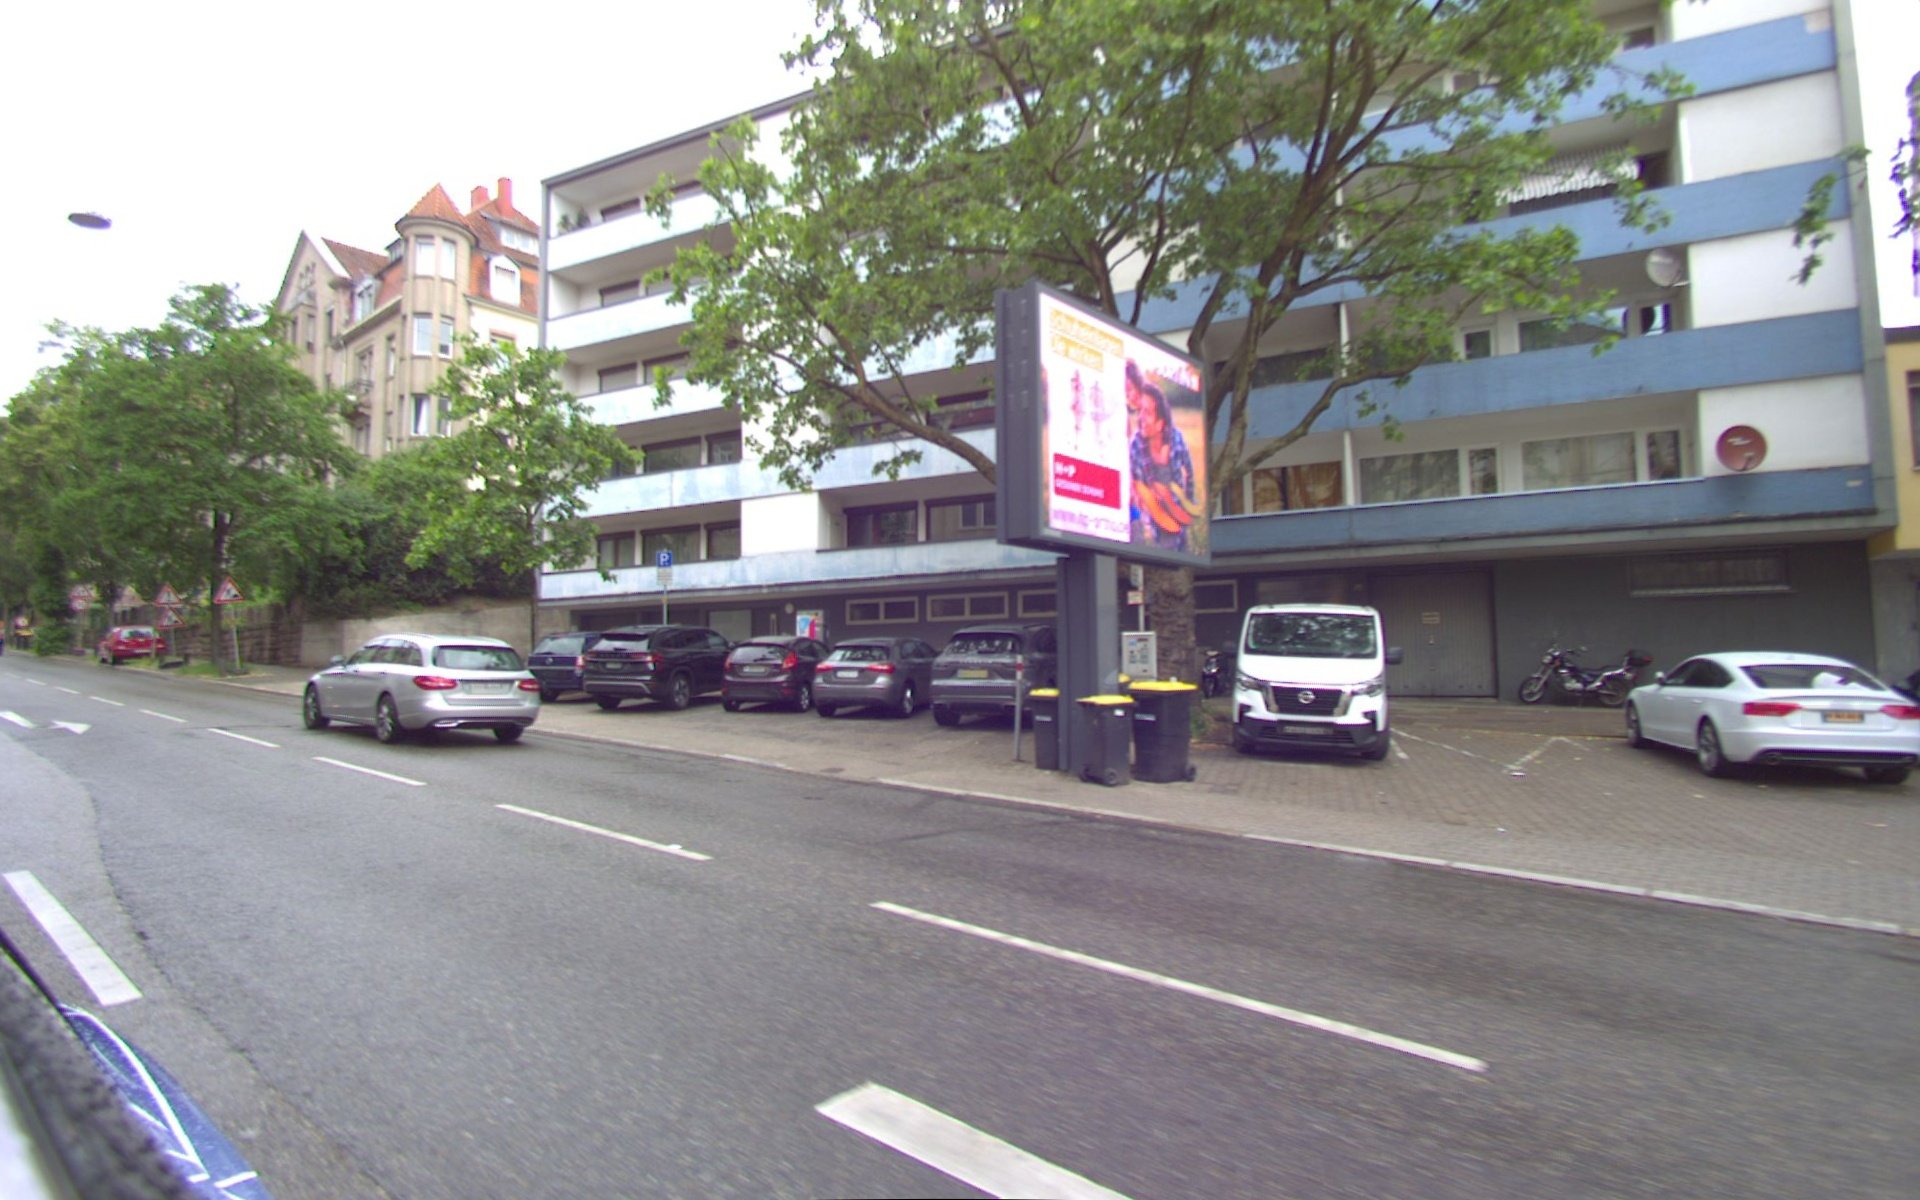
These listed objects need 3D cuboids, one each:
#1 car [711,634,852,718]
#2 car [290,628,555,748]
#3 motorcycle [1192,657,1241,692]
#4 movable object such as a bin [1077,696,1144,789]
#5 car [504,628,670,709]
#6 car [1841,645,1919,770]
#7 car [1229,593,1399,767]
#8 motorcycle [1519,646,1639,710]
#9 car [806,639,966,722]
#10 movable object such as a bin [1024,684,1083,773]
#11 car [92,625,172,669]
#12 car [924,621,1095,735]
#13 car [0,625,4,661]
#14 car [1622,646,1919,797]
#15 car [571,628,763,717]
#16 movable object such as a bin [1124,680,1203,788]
[{"bbox_3d":[-3.533,1.474,20.687,1.662,1.416,3.825,0,0,10],"label":"car"},{"bbox_3d":[-7.686,1.187,14.310,4.321,1.459,1.709,-2,-6,40],"label":"car"},{"bbox_3d":[5.684,1.638,22.384,0.423,0.693,1.654,-2,-2,38],"label":"motorcycle"},{"bbox_3d":[1.590,1.490,10.688,0.545,0.908,0.479,-1,-3,38],"label":"movable object such as a bin"},{"bbox_3d":[-8.244,1.457,22.739,1.753,1.543,3.821,0,0,12],"label":"car"},{"bbox_3d":[11.804,1.233,11.081,1.613,1.426,3.609,0,-2,11],"label":"car"},{"bbox_3d":[5.005,0.996,14.275,1.866,1.992,4.942,-1,-2,20],"label":"car"},{"bbox_3d":[12.089,1.500,19.840,1.954,1.176,0.697,-1,-3,31],"label":"motorcycle"},{"bbox_3d":[-1.282,1.458,19.319,1.678,1.416,3.811,-1,-3,19],"label":"car"},{"bbox_3d":[1.100,1.488,11.841,0.511,0.971,0.479,-1,-3,38],"label":"movable object such as a bin"},{"bbox_3d":[-31.718,1.799,38.734,3.886,1.518,1.729,-2,-7,43],"label":"car"},{"bbox_3d":[0.967,1.256,17.323,1.794,1.702,3.808,0,-2,22],"label":"car"},{"bbox_3d":[-46.134,1.987,47.227,3.885,1.678,1.771,-2,-6,42],"label":"car"},{"bbox_3d":[9.507,1.284,11.880,1.795,1.426,3.687,-1,-2,15],"label":"car"},{"bbox_3d":[-5.890,1.392,20.932,1.795,1.605,4.288,0,-1,16],"label":"car"},{"bbox_3d":[2.201,1.424,10.941,0.627,1.088,0.635,-1,-3,38],"label":"movable object such as a bin"}]
